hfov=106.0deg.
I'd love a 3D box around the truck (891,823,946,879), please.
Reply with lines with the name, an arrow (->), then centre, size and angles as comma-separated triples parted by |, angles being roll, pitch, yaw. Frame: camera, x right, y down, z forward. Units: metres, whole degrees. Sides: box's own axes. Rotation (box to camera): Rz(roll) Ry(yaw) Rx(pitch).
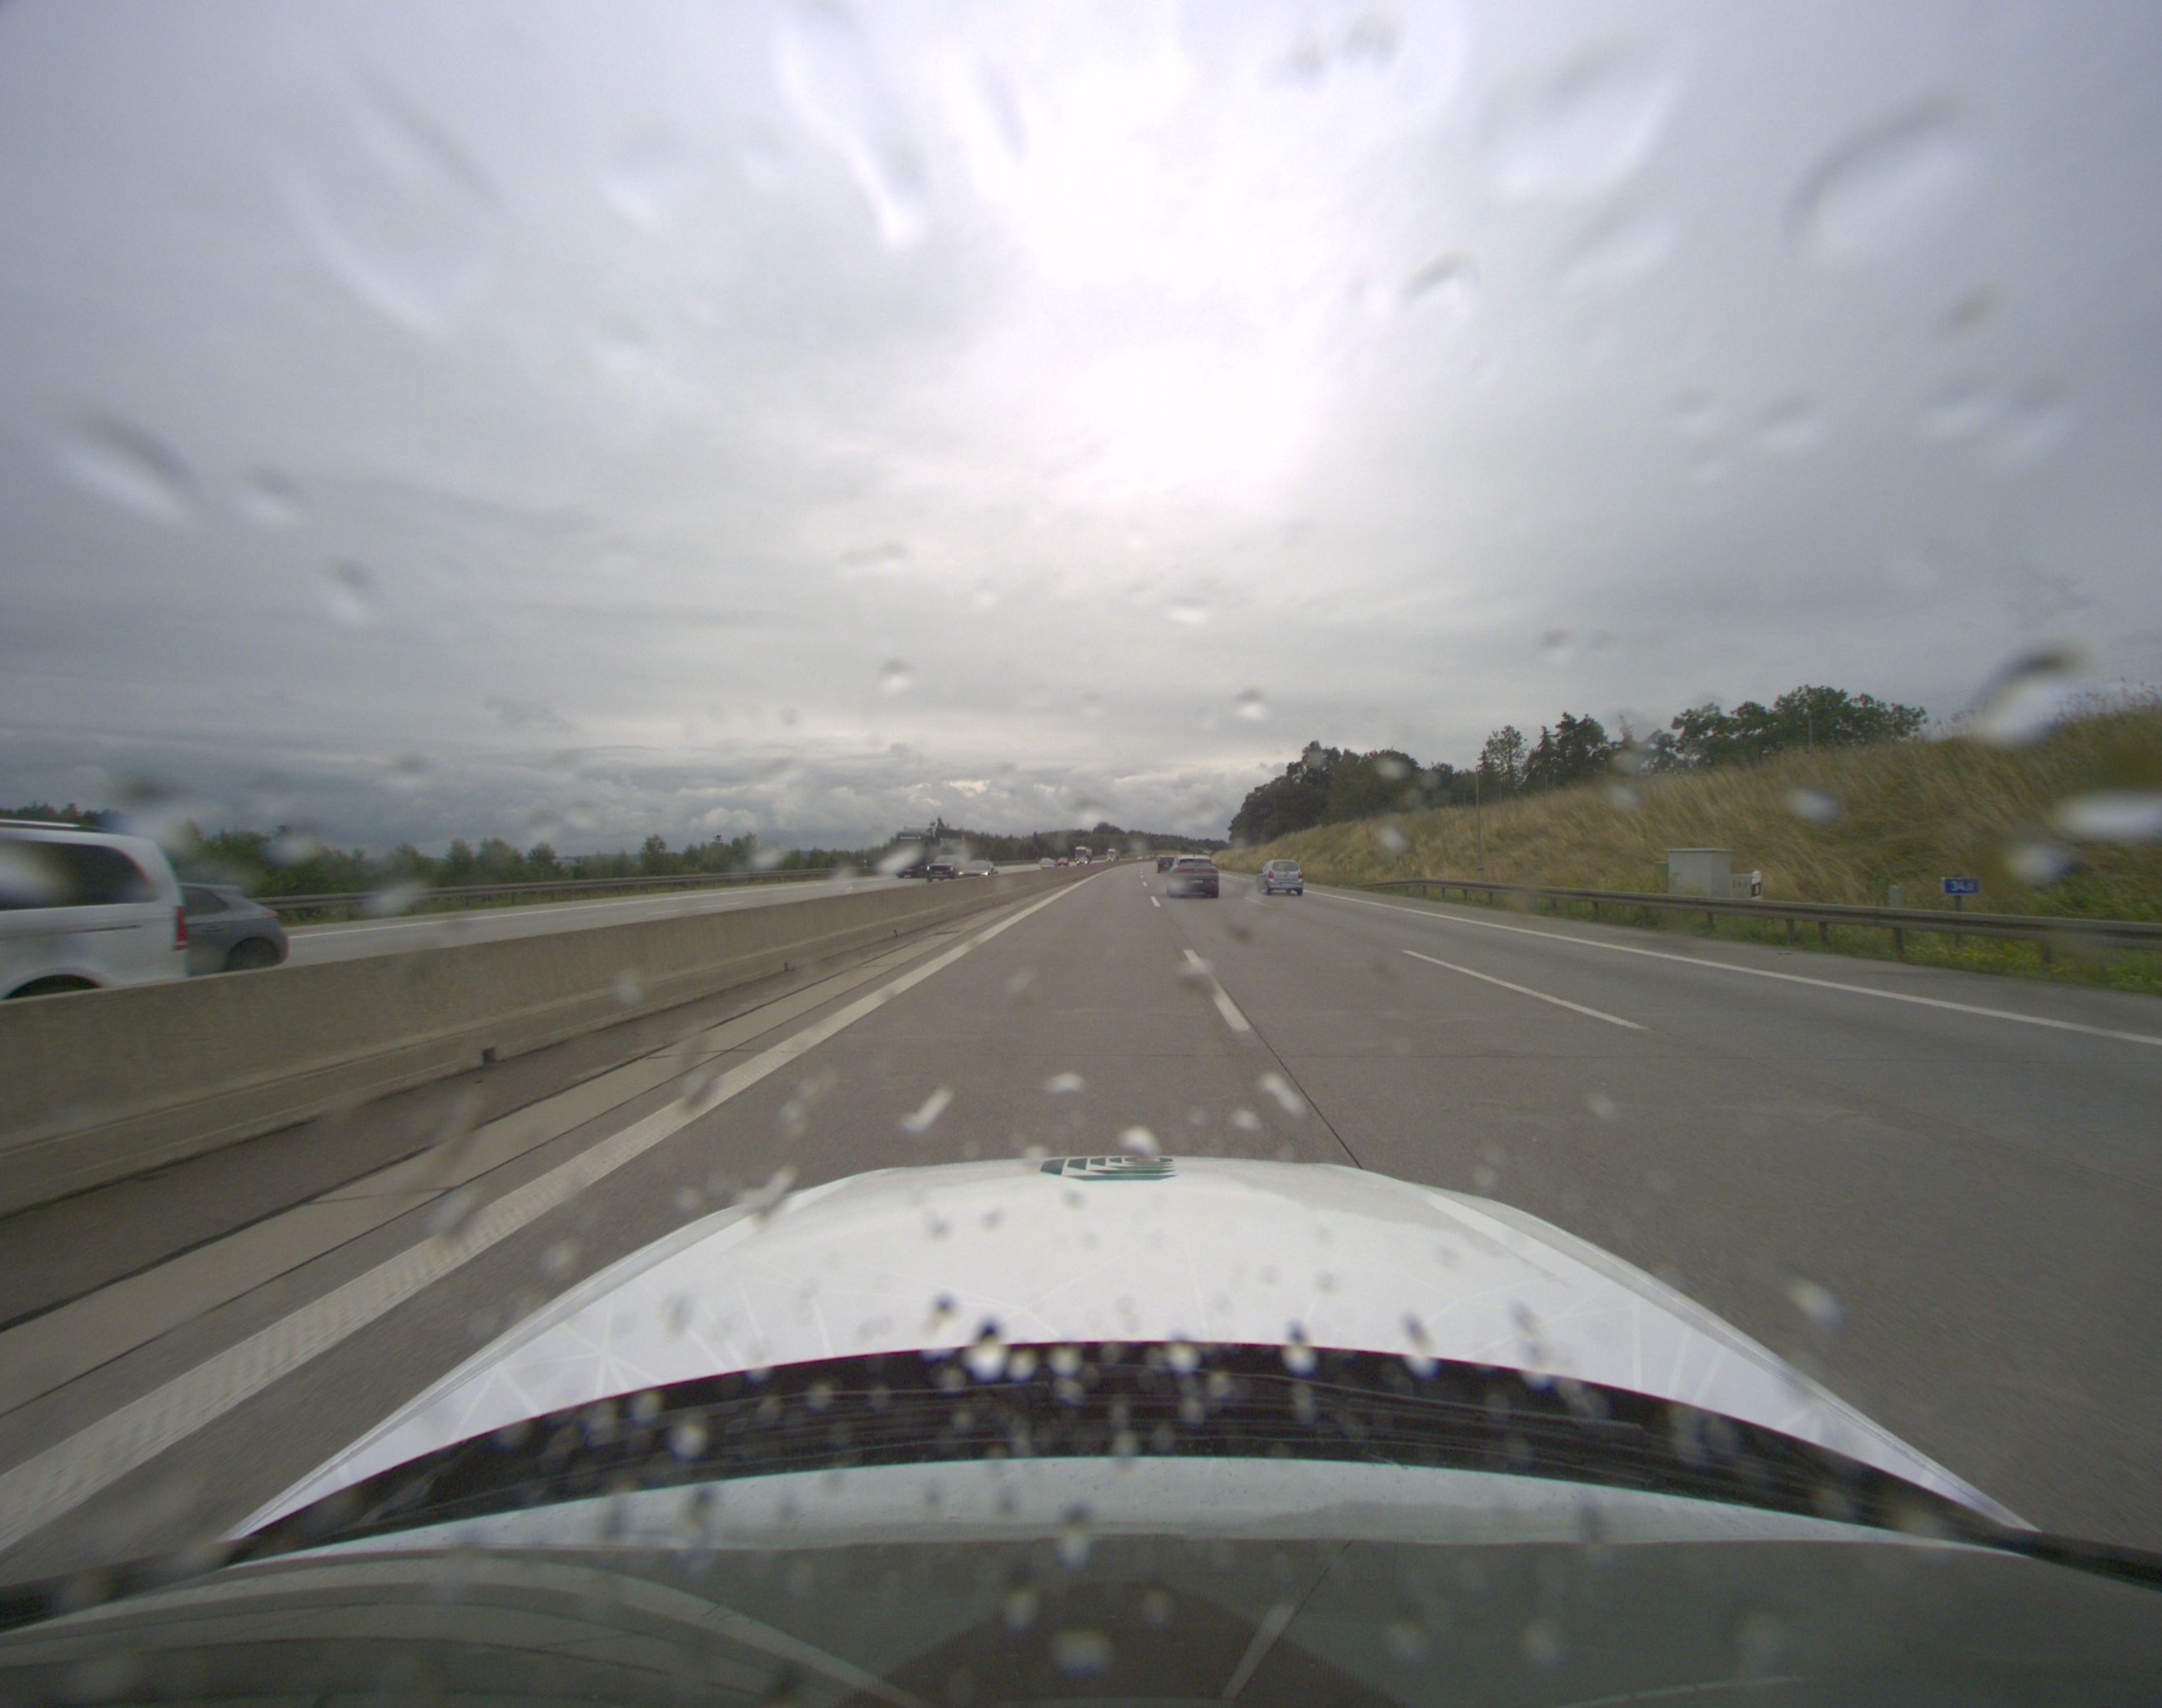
truck -> -13.033, -0.302, 65.626 | 2.777, 4.262, 6.056 | 1, 1, 4

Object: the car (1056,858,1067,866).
car -> -3.297, 1.301, 137.637 | 1.512, 1.393, 4.491 | 1, 0, 4

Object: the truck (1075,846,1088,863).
truck -> 0.070, 0.069, 202.777 | 2.734, 3.998, 6.938 | 1, 1, 4

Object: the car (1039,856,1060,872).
car -> -3.153, 0.993, 82.672 | 1.765, 1.357, 4.369 | -2, 1, 2

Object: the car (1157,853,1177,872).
car -> 8.383, 0.807, 79.779 | 1.777, 1.747, 3.920 | -2, 1, 4

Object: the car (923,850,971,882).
car -> -9.139, 0.770, 56.008 | 1.985, 1.973, 5.336 | -2, 1, 3

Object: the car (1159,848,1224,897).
car -> 4.263, 0.652, 32.234 | 1.891, 1.689, 5.267 | -2, 1, 1

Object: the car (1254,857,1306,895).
car -> 8.364, 0.883, 34.462 | 1.480, 1.470, 3.507 | 0, 1, 2

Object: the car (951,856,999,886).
car -> -6.107, 0.938, 47.370 | 1.986, 1.519, 4.400 | -2, 1, 2

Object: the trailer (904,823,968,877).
trailer -> -12.562, -0.419, 71.870 | 2.753, 4.281, 12.181 | 1, 1, 4

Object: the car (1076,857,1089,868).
car -> 0.212, 1.378, 132.179 | 1.714, 1.587, 4.977 | -1, 1, 4

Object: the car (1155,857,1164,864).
car -> 17.892, 1.420, 185.359 | 1.830, 1.500, 4.012 | -2, 1, 10

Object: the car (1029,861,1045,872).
car -> -6.224, 1.776, 116.007 | 1.710, 1.508, 4.491 | -1, -1, 4

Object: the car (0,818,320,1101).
car -> -8.696, 0.803, 5.147 | 1.906, 2.013, 5.929 | -2, 1, 3
